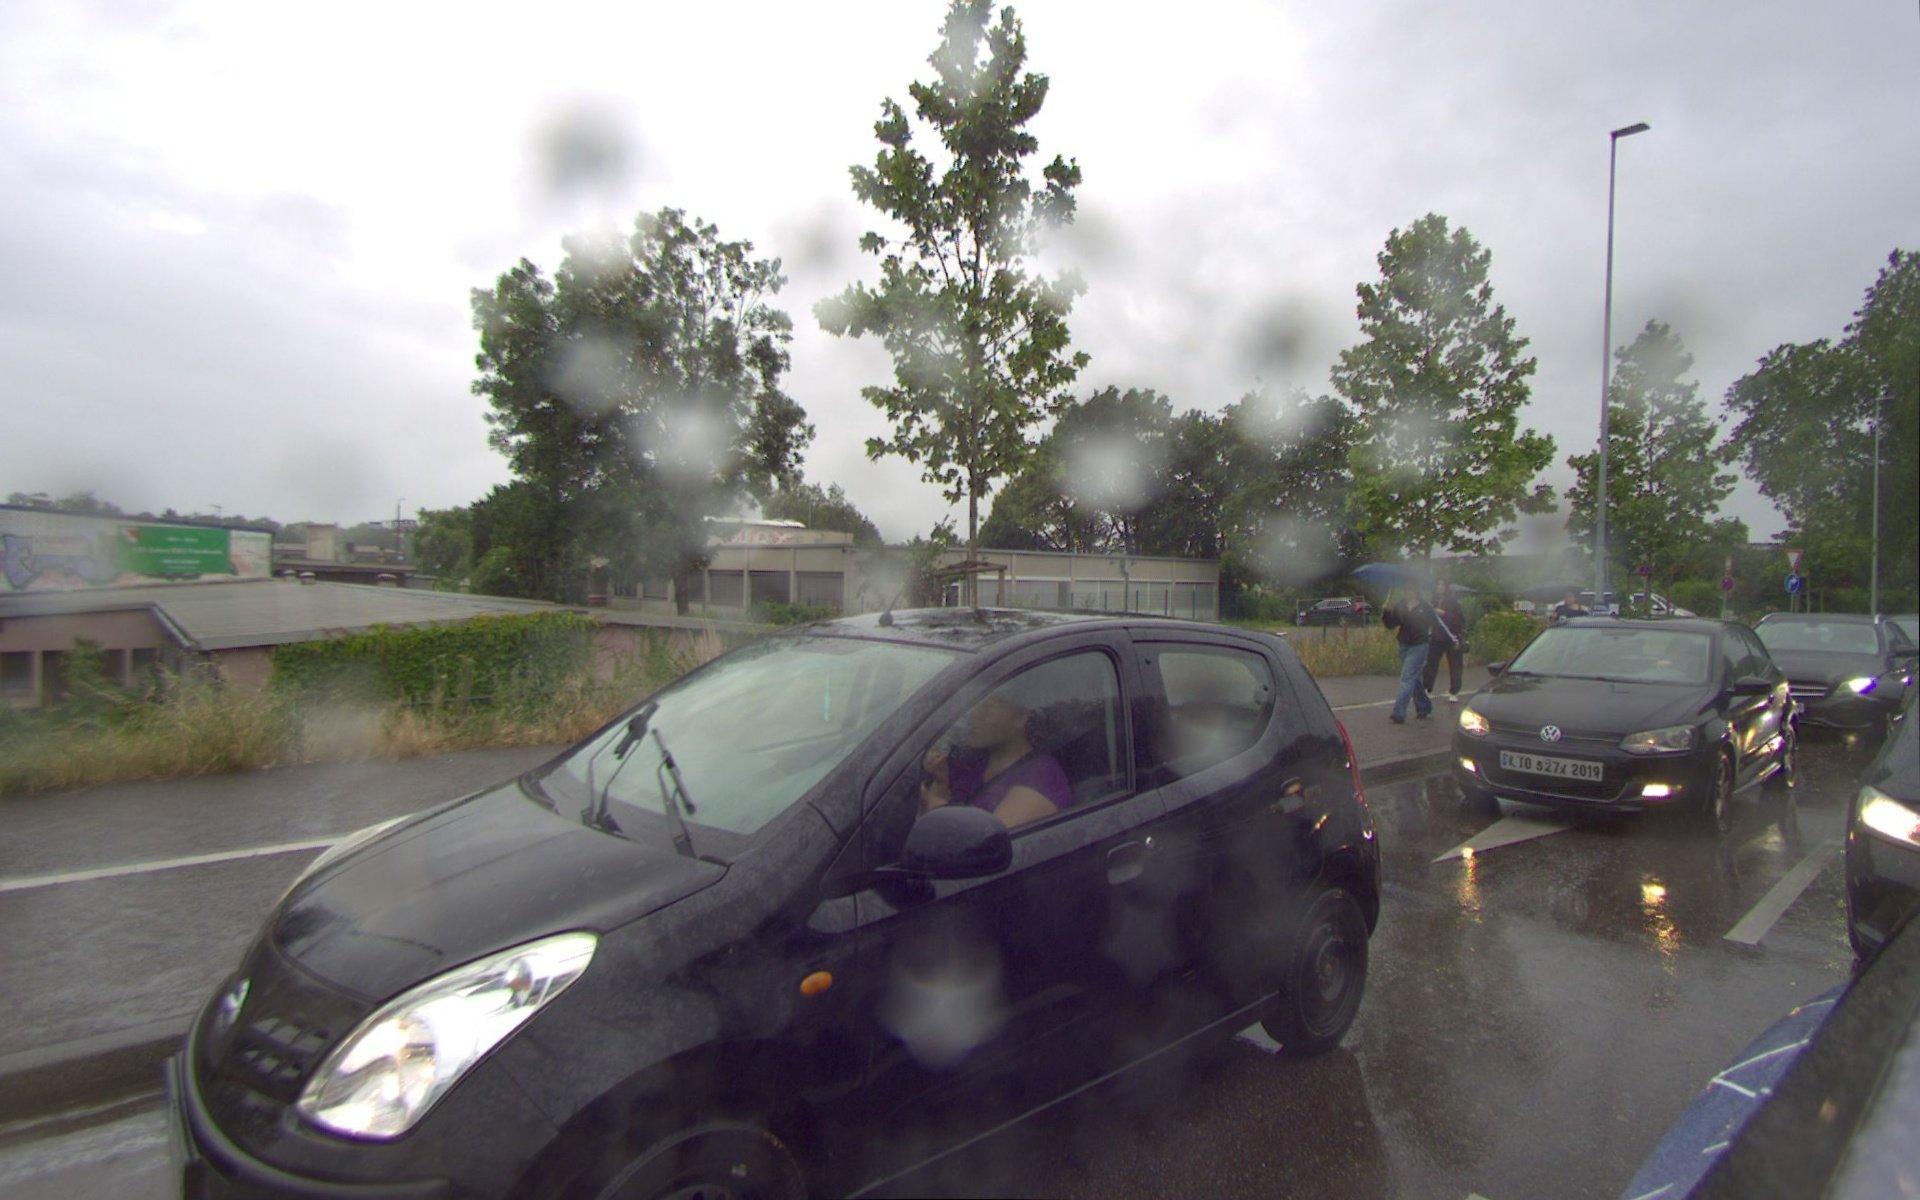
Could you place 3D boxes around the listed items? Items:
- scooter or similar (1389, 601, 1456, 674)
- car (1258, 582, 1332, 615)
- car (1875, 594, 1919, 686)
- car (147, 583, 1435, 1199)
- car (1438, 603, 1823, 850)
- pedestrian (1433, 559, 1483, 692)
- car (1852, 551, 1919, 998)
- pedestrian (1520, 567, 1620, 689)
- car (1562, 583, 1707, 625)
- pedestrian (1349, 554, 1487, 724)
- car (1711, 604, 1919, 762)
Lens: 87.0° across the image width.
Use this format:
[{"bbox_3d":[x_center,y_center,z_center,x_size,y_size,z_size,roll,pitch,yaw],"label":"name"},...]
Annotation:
[{"bbox_3d":[7.893,0.613,17.246,1.747,1.144,0.380,-1,2,-43],"label":"scooter or similar"},{"bbox_3d":[20.990,-0.105,63.475,1.964,2.039,3.996,0,0,-38],"label":"car"},{"bbox_3d":[17.426,0.653,17.708,4.052,1.488,1.702,-1,1,-42],"label":"car"},{"bbox_3d":[-0.143,0.709,3.080,3.561,1.447,1.631,0,0,-42],"label":"car"},{"bbox_3d":[5.264,0.759,7.780,3.561,1.447,1.631,0,0,-42],"label":"car"},{"bbox_3d":[6.500,0.318,13.213,0.433,1.682,0.400,0,3,-42],"label":"pedestrian"},{"bbox_3d":[5.417,0.608,4.470,4.091,1.607,1.688,-1,0,-41],"label":"car"},{"bbox_3d":[9.249,0.390,15.361,0.876,1.729,1.024,0,3,-41],"label":"pedestrian"},{"bbox_3d":[28.128,0.131,42.318,1.966,1.670,4.752,-1,1,-42],"label":"car"},{"bbox_3d":[5.161,0.392,11.428,0.953,1.777,1.081,0,3,-42],"label":"pedestrian"},{"bbox_3d":[10.796,0.878,12.484,3.747,1.594,1.697,-1,0,-41],"label":"car"}]
